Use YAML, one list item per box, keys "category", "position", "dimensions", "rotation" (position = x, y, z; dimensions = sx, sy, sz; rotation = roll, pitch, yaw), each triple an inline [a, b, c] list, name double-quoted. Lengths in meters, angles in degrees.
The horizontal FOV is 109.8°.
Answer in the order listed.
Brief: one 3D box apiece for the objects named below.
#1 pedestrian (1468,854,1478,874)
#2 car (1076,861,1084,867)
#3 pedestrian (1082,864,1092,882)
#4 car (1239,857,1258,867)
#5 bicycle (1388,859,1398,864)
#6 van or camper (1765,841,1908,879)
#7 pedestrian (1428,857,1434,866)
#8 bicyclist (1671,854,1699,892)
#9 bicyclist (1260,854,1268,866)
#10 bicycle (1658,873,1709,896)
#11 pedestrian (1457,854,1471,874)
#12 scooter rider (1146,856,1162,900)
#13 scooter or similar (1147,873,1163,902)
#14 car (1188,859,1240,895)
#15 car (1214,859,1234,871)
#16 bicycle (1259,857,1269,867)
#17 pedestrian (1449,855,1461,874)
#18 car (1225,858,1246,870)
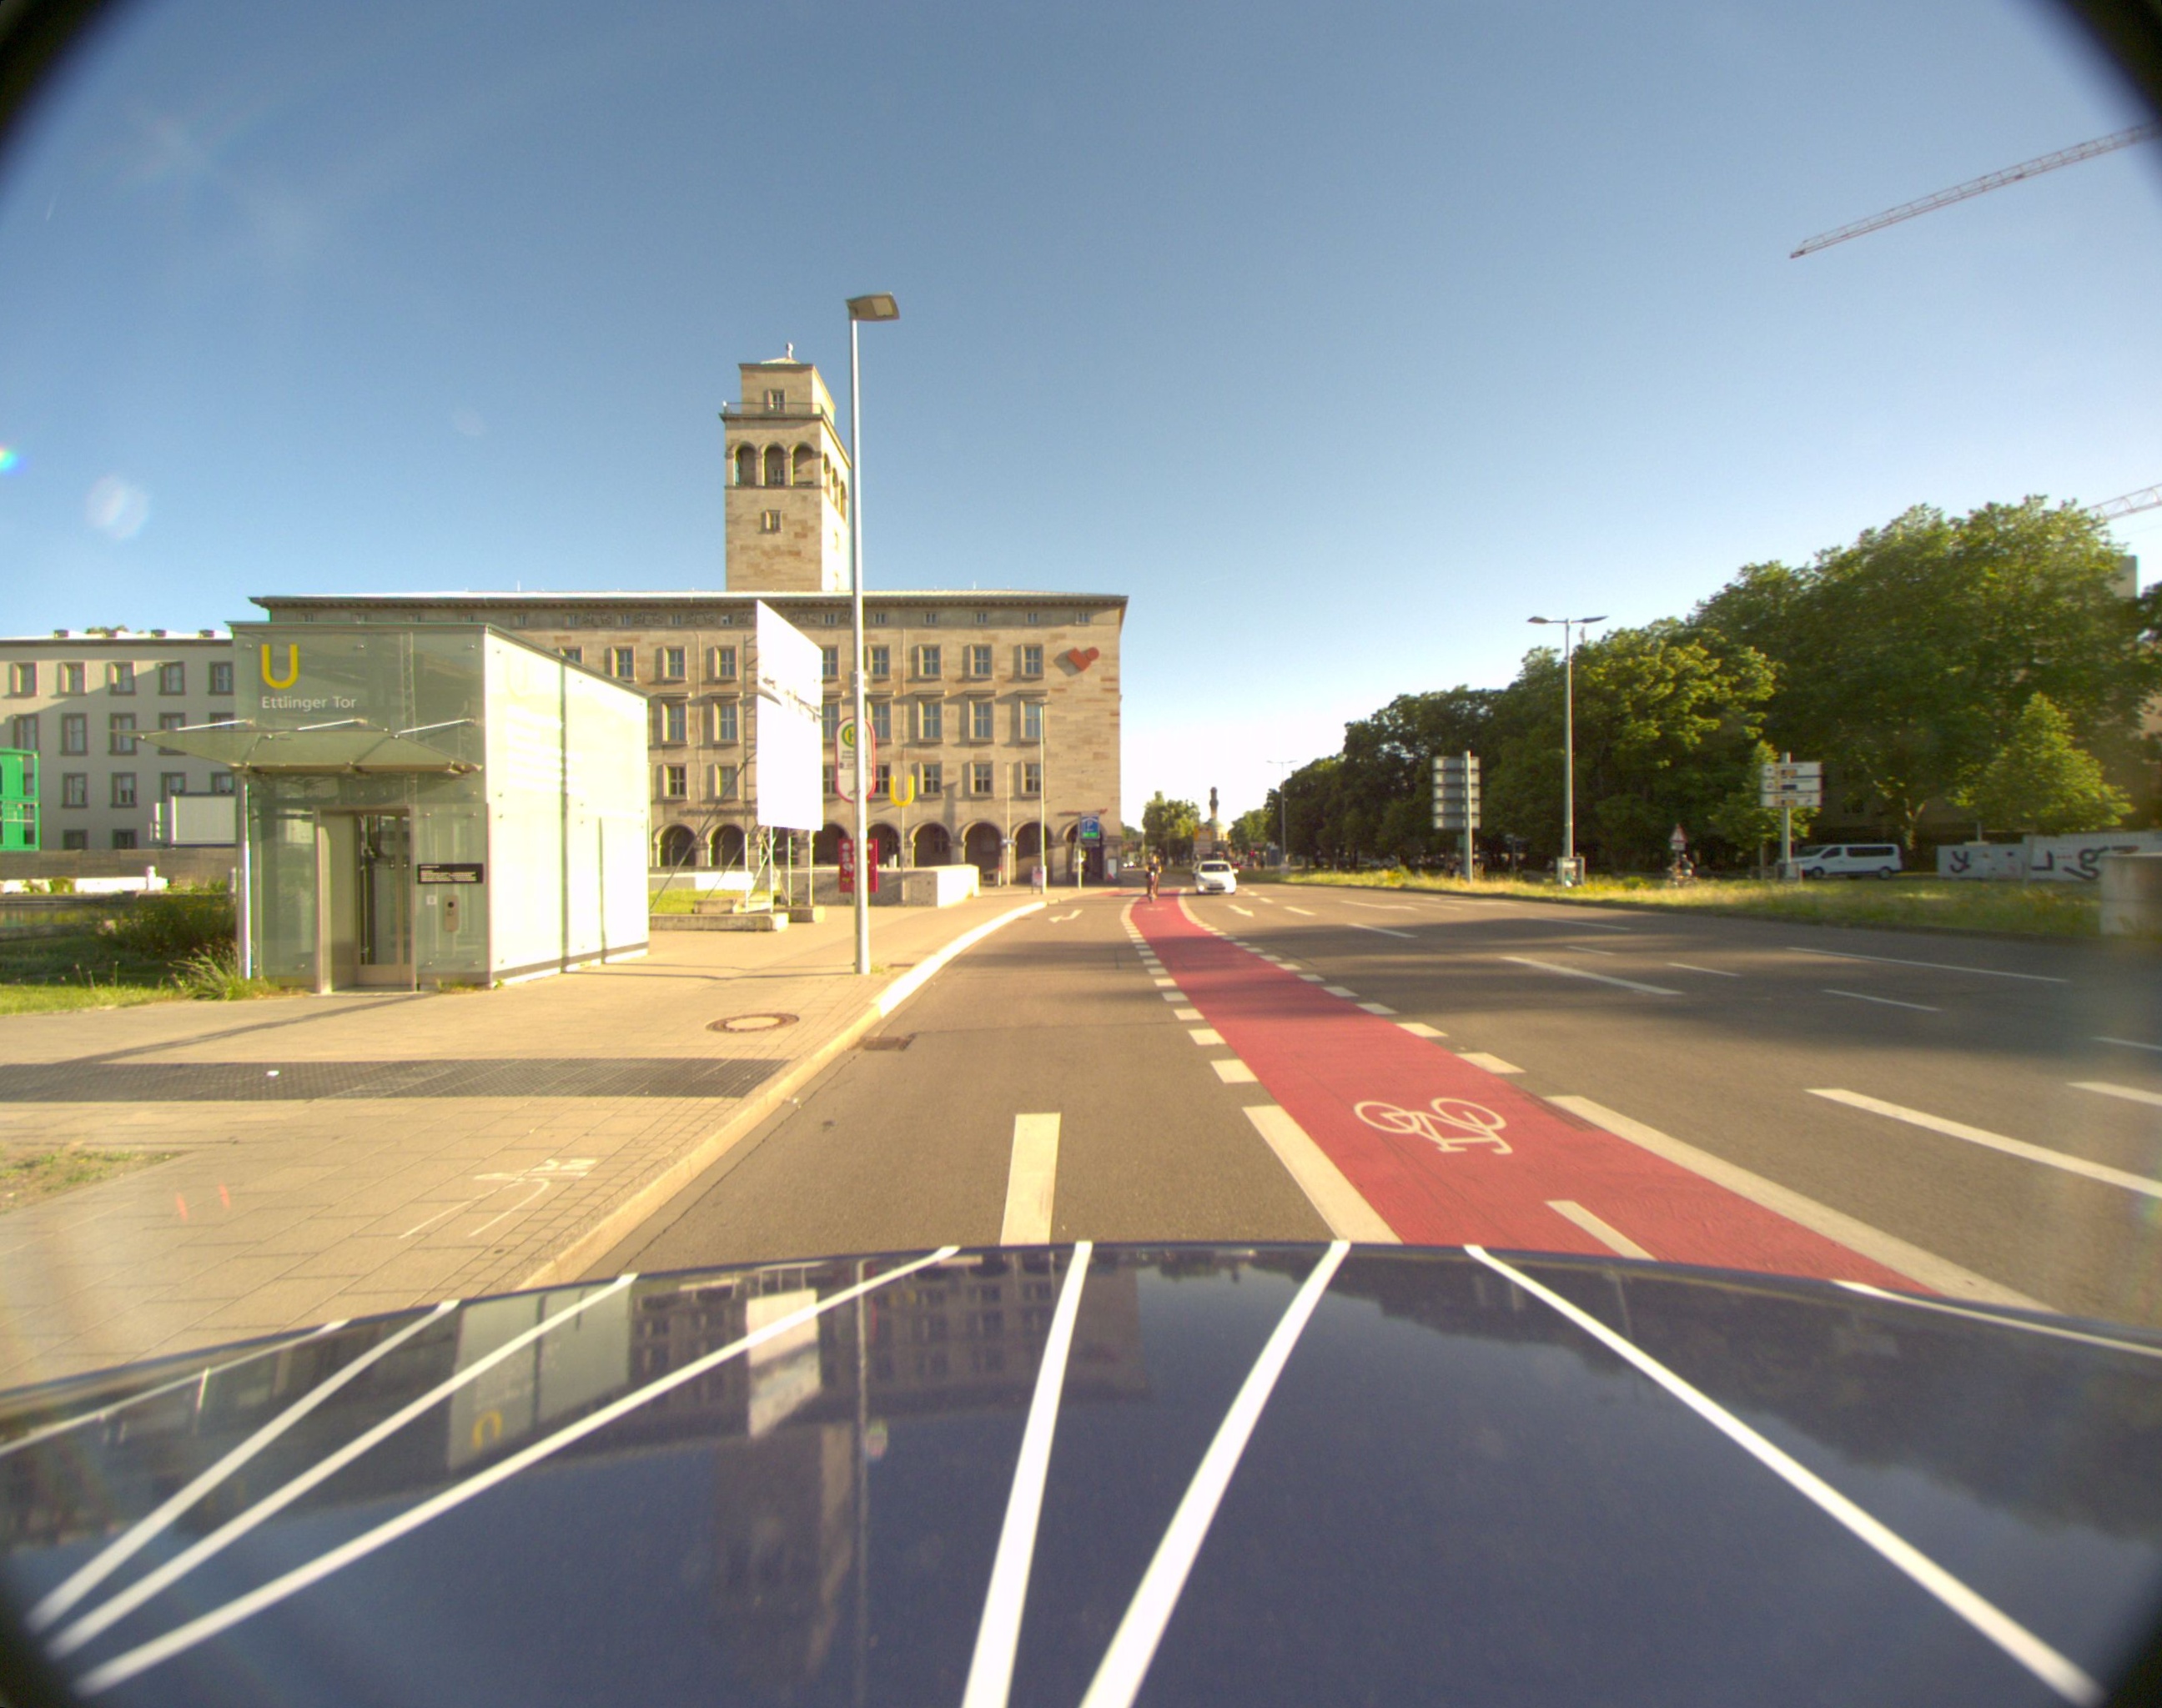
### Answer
- category: "pedestrian"
  position: [33.857, 0.845, 65.661]
  dimensions: [0.525, 1.730, 0.655]
  rotation: [0, 0, 3]
- category: "car"
  position: [-0.249, 2.439, 187.028]
  dimensions: [1.999, 1.564, 4.549]
  rotation: [0, 0, 0]
- category: "pedestrian"
  position: [0.527, 1.586, 64.207]
  dimensions: [0.778, 1.560, 0.952]
  rotation: [0, 0, -2]
- category: "car"
  position: [25.852, 1.171, 117.209]
  dimensions: [1.938, 1.517, 4.587]
  rotation: [-1, 0, 0]
- category: "bicycle"
  position: [54.821, 1.371, 133.497]
  dimensions: [0.770, 0.884, 1.605]
  rotation: [0, 0, -9]
- category: "van or camper"
  position: [42.257, 0.311, 42.626]
  dimensions: [5.677, 2.002, 2.257]
  rotation: [0, 2, 1]
- category: "pedestrian"
  position: [52.506, 1.104, 114.010]
  dimensions: [0.733, 1.332, 0.599]
  rotation: [0, 0, 2]
- category: "bicyclist"
  position: [23.996, 0.745, 30.190]
  dimensions: [0.608, 1.480, 0.681]
  rotation: [-1, 0, 5]
- category: "bicyclist"
  position: [24.125, 0.794, 99.982]
  dimensions: [0.749, 1.581, 1.202]
  rotation: [0, 2, -1]
- category: "bicycle"
  position: [24.011, 1.207, 30.329]
  dimensions: [0.613, 0.856, 1.952]
  rotation: [-1, 0, 5]
- category: "pedestrian"
  position: [33.204, 0.854, 65.879]
  dimensions: [0.773, 1.730, 0.761]
  rotation: [0, 0, 3]
- category: "scooter rider"
  position: [2.710, 0.875, 28.077]
  dimensions: [0.562, 1.622, 0.650]
  rotation: [0, 0, 3]
- category: "scooter or similar"
  position: [2.728, 1.245, 28.199]
  dimensions: [0.556, 1.025, 1.118]
  rotation: [0, 0, 4]
- category: "car"
  position: [5.901, 0.986, 34.026]
  dimensions: [1.678, 1.455, 3.765]
  rotation: [-2, 0, 1]
- category: "car"
  position: [20.946, 1.555, 111.271]
  dimensions: [1.999, 1.666, 4.549]
  rotation: [0, 0, 0]
- category: "bicycle"
  position: [24.123, 1.039, 100.093]
  dimensions: [0.760, 1.268, 2.257]
  rotation: [0, 2, 0]
- category: "pedestrian"
  position: [32.432, 0.905, 65.898]
  dimensions: [0.744, 1.631, 0.726]
  rotation: [0, 0, 3]
- category: "car"
  position: [21.214, 1.380, 104.297]
  dimensions: [1.999, 1.555, 4.060]
  rotation: [0, 0, 0]
